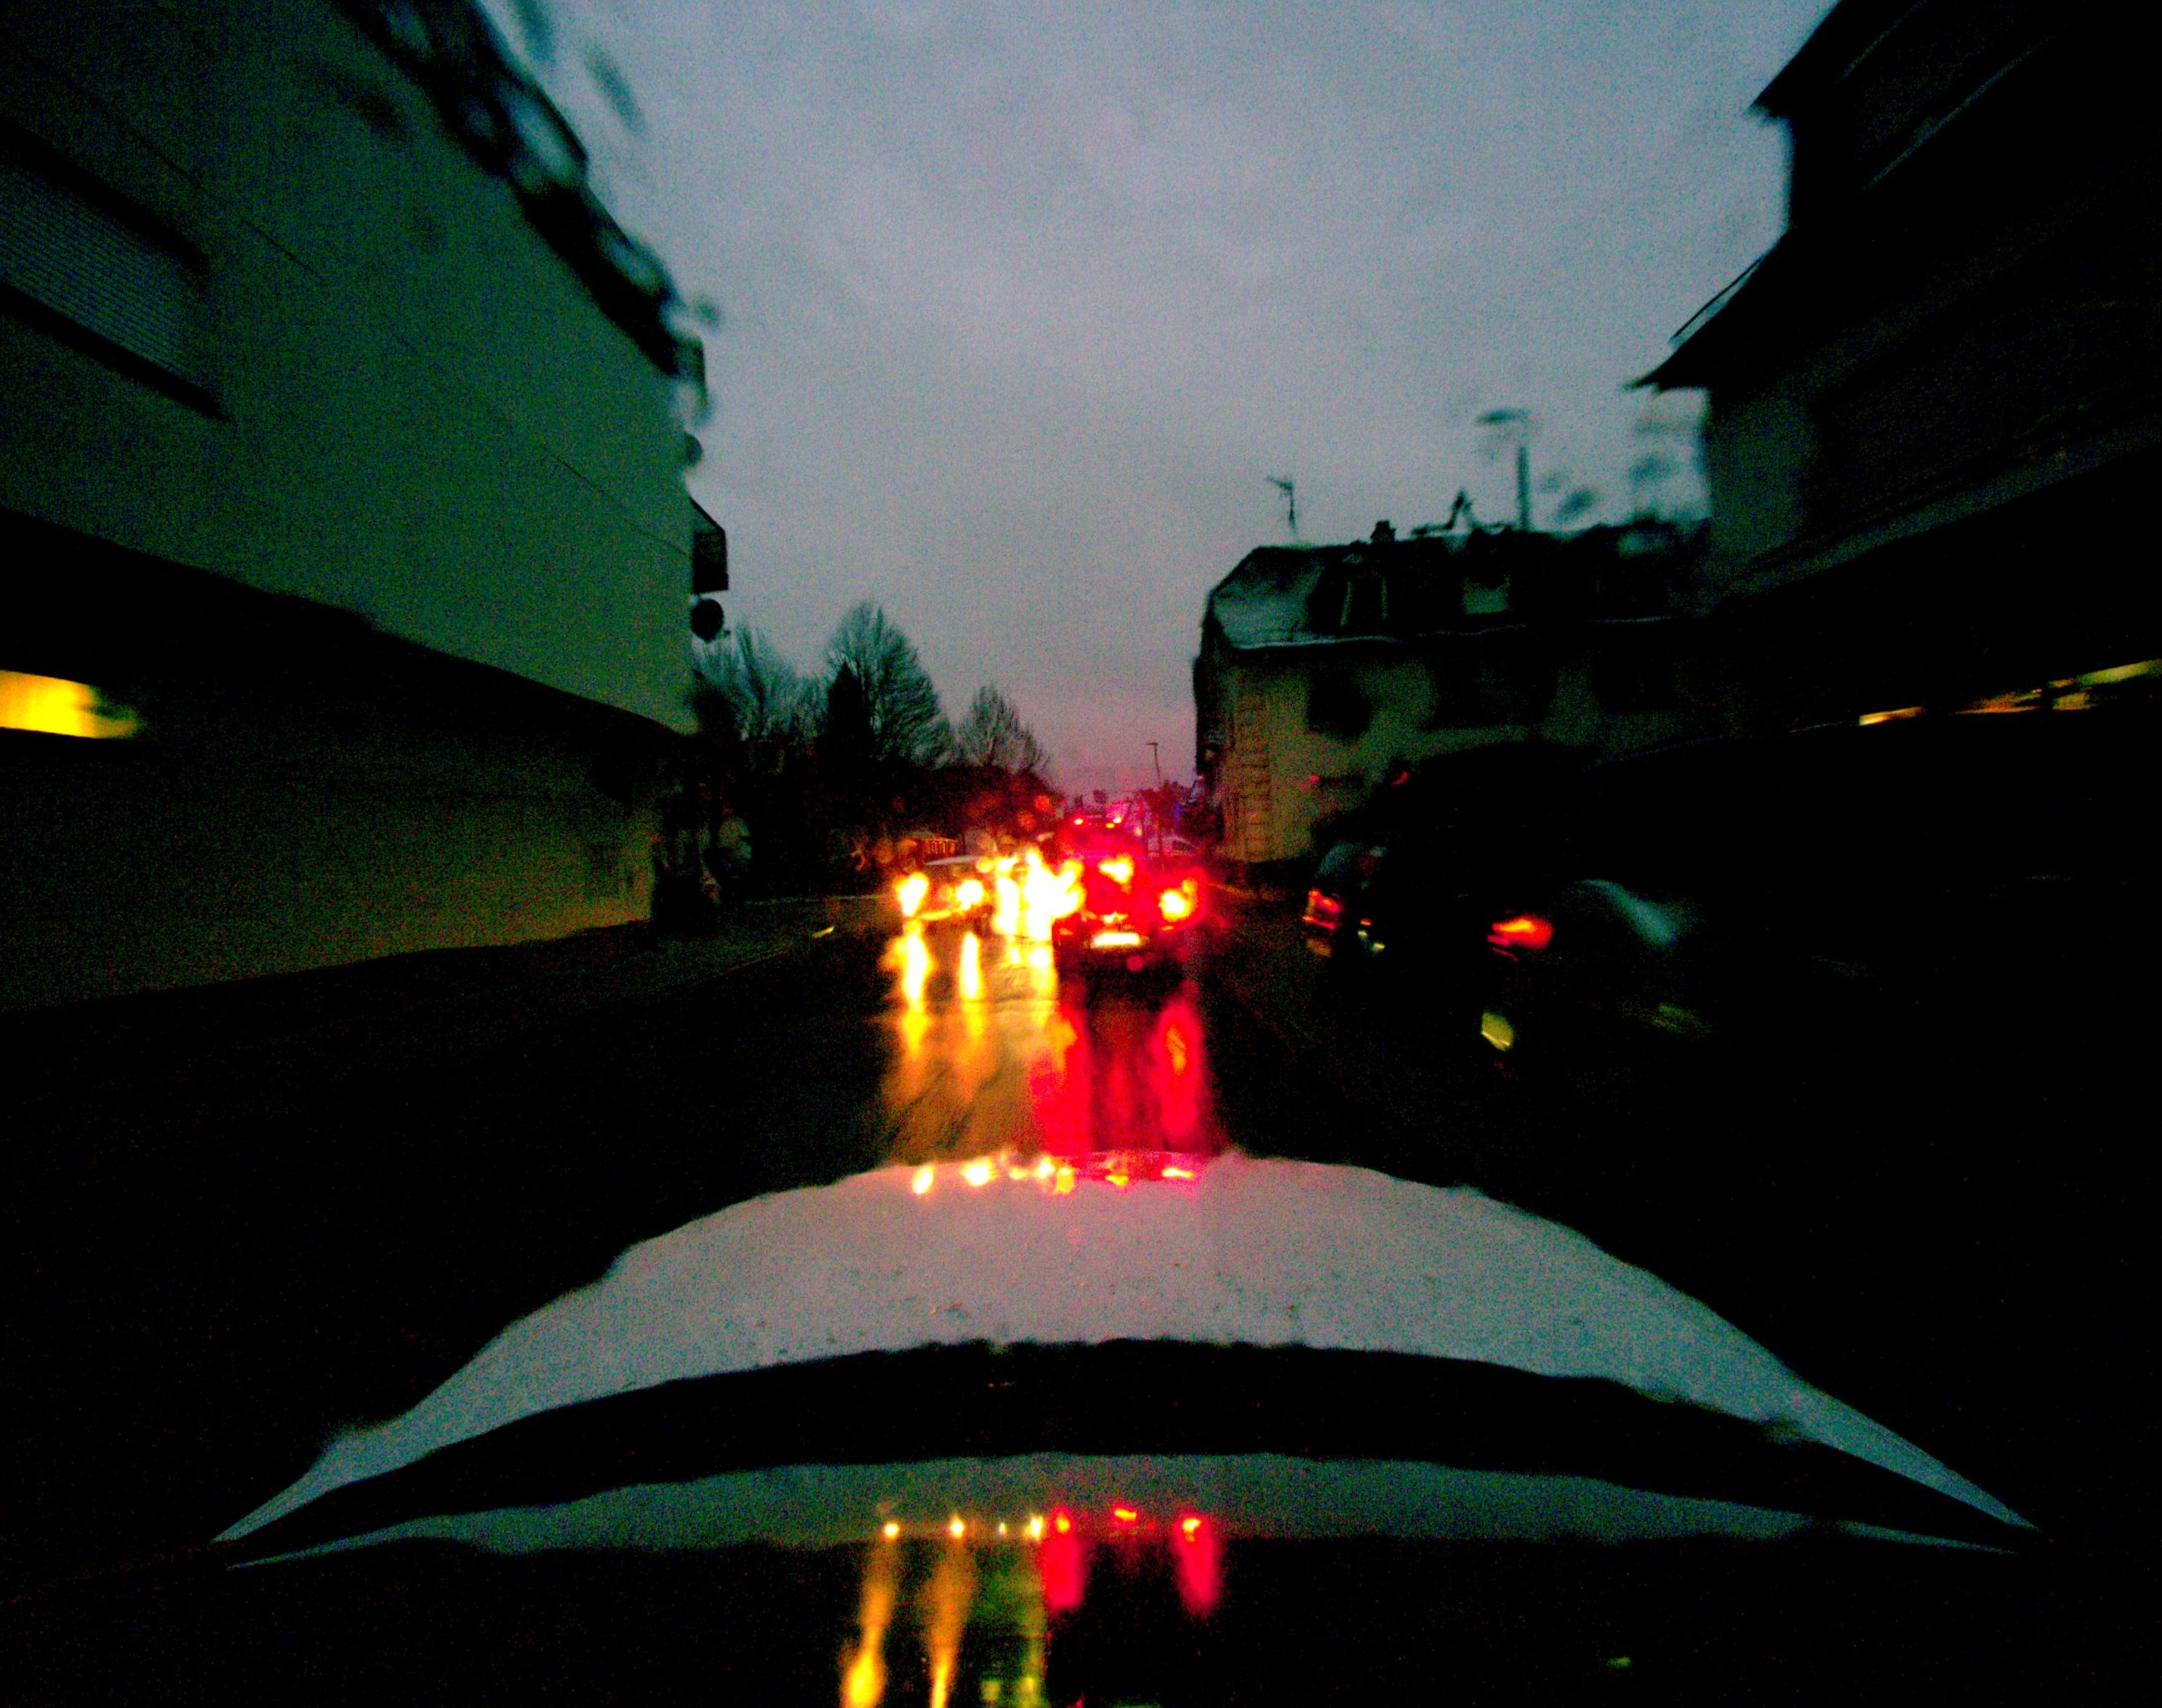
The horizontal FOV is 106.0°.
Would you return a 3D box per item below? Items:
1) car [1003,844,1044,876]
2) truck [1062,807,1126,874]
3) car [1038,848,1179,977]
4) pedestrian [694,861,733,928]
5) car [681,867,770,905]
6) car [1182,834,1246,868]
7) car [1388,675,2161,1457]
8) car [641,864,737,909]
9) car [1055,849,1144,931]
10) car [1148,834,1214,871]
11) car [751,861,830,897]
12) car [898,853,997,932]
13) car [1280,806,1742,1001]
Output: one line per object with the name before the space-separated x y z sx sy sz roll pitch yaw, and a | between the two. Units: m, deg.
car | -3.113 0.305 45.058 1.804 1.596 4.400 -2 0 1
truck | 0.601 -0.659 43.027 3.006 3.128 7.998 -2 0 -1
car | 0.371 0.686 11.320 1.632 1.481 3.380 -2 0 2
pedestrian | -8.243 0.889 18.282 0.653 1.458 0.643 -2 0 -35
car | -18.178 1.641 41.693 3.953 1.730 1.829 -2 0 21
car | 8.975 -0.218 55.027 4.073 2.151 1.918 -2 0 8
car | 3.821 0.380 3.003 4.593 1.775 1.943 -3 0 -3
car | -18.719 1.558 38.906 3.953 1.988 1.829 -2 0 21
car | 0.352 0.660 16.957 1.632 1.481 3.271 -2 1 0
car | 6.508 -0.111 52.779 4.074 2.162 1.918 -2 0 8
car | -16.718 1.447 46.929 3.953 1.910 1.829 -2 0 21
car | -2.917 0.789 18.415 1.633 1.535 3.405 -2 0 0
car | 4.234 0.444 8.386 3.862 1.579 1.680 -3 0 -4
